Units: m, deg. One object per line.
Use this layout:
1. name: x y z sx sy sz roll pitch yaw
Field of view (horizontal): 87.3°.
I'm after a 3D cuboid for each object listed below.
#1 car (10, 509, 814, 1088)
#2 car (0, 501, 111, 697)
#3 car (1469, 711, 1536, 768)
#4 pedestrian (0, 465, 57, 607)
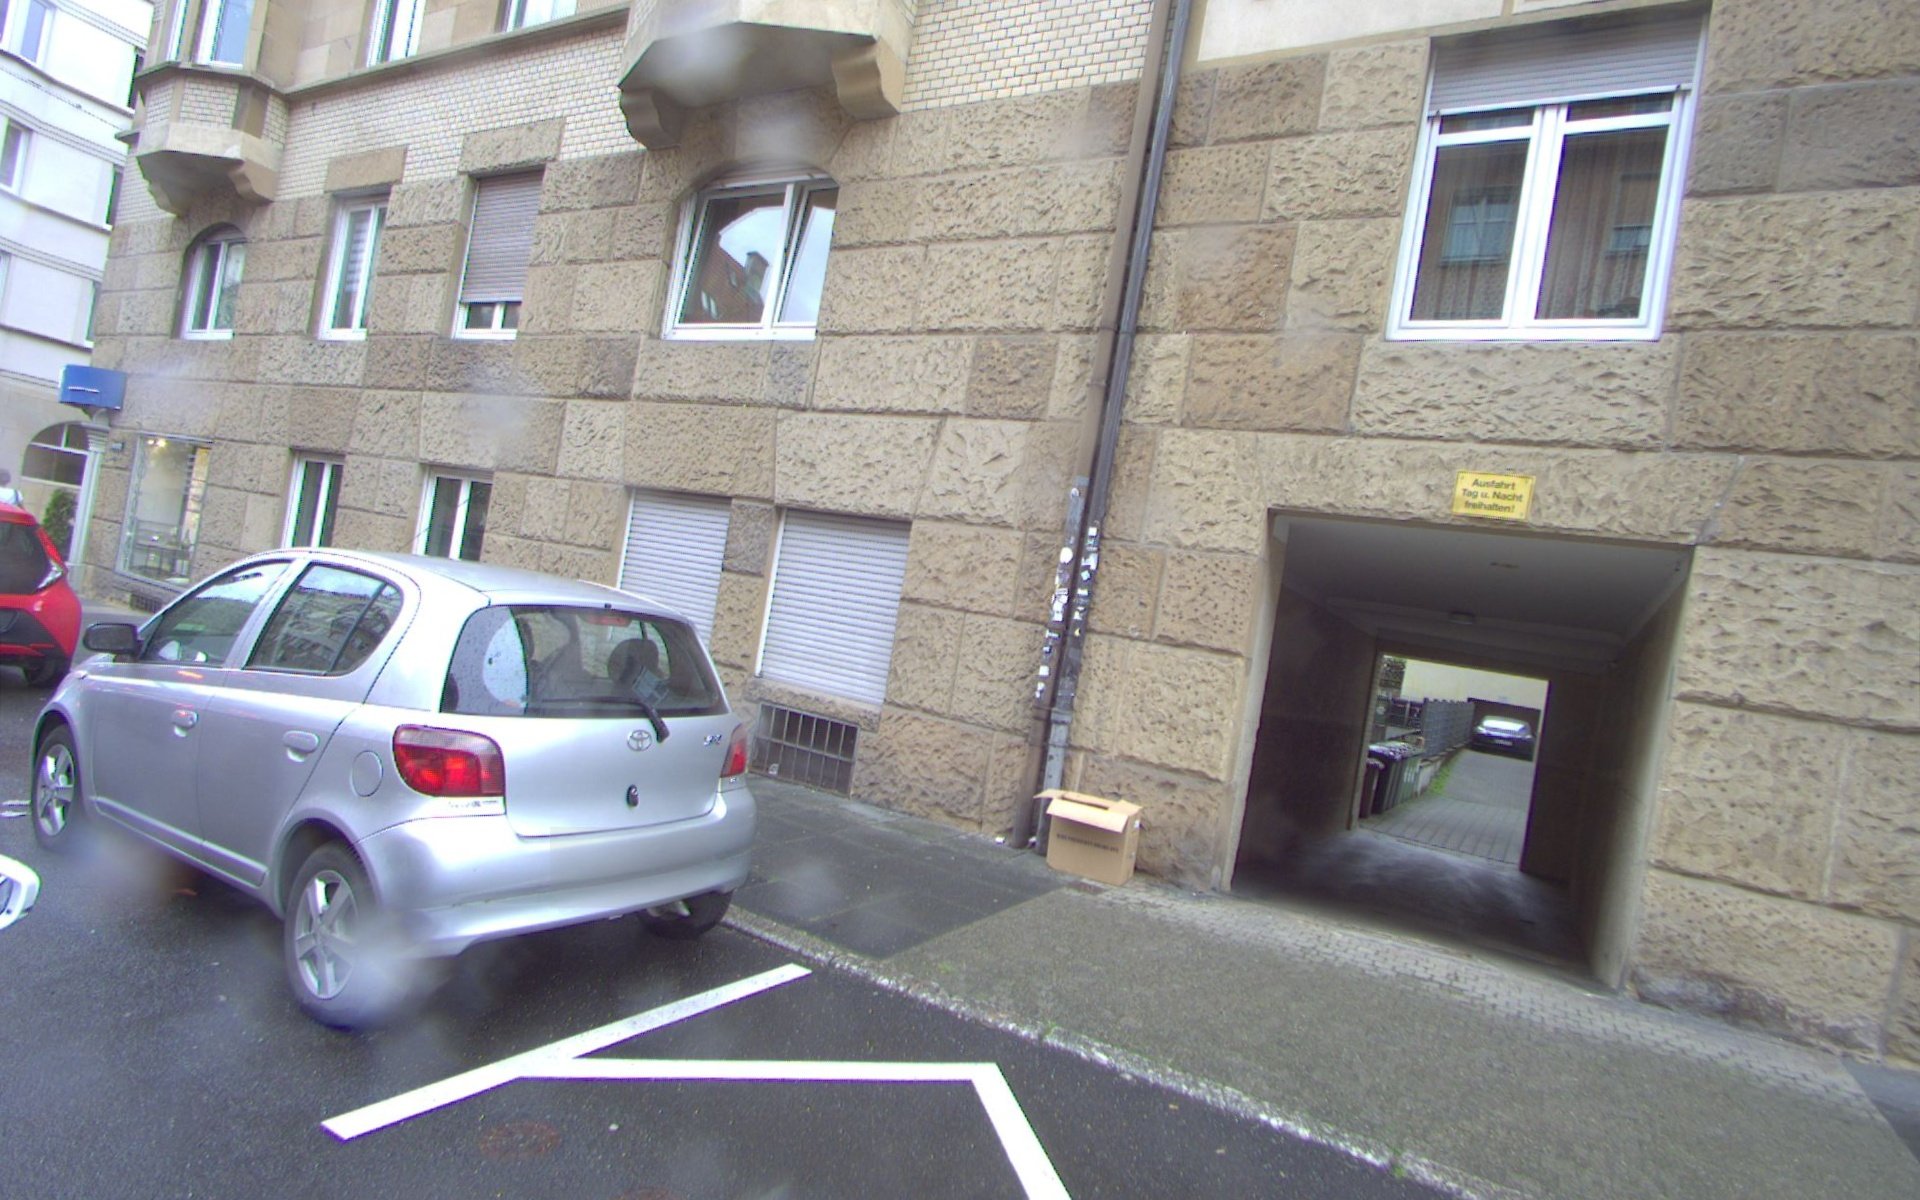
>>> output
1. car: -2.481 0.548 4.403 3.258 1.485 1.616 7 0 33
2. car: -8.730 -0.197 8.181 3.243 1.464 1.646 7 -2 29
3. car: 18.344 4.686 33.946 1.693 1.538 4.102 7 -3 31
4. pedestrian: -12.769 -0.876 13.341 1.093 1.768 0.743 6 -1 32
